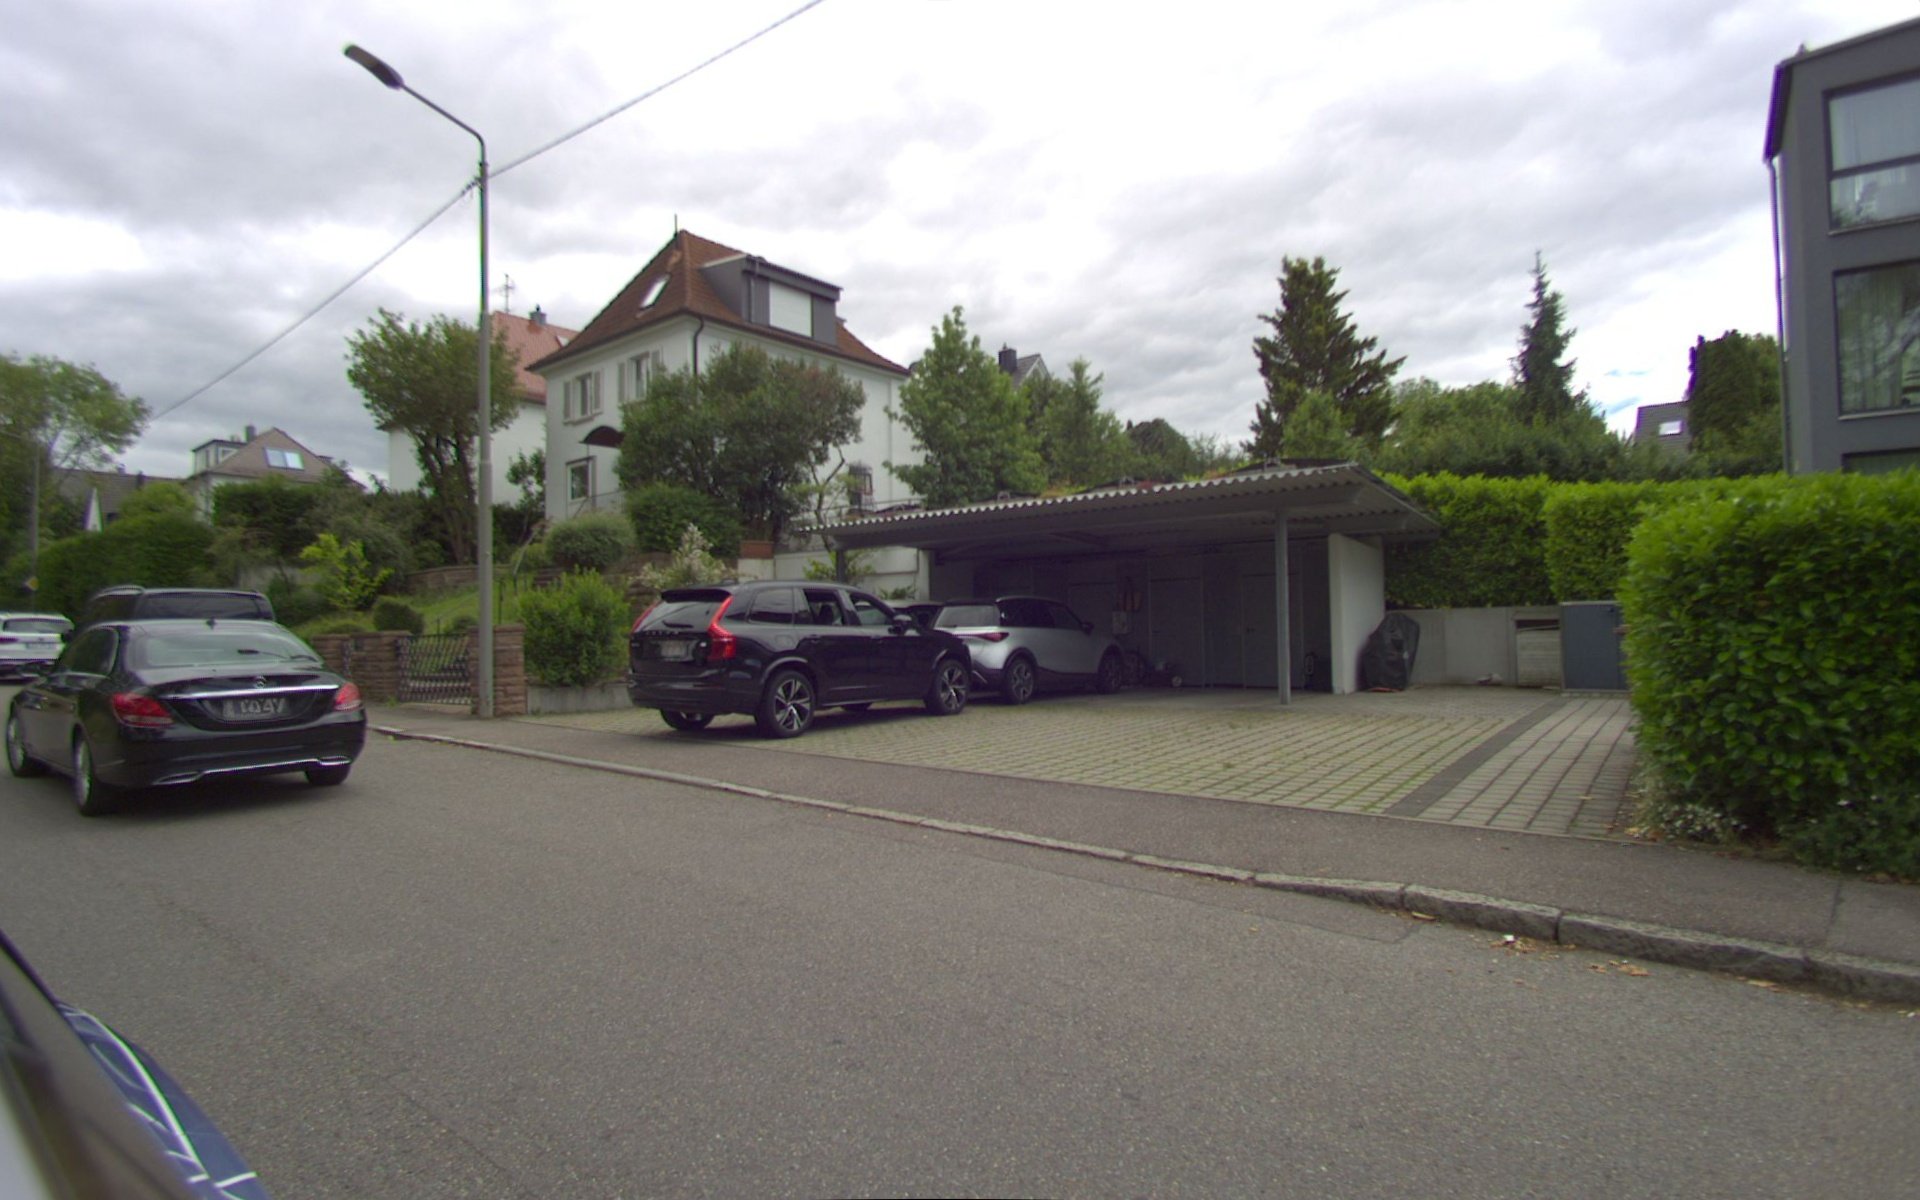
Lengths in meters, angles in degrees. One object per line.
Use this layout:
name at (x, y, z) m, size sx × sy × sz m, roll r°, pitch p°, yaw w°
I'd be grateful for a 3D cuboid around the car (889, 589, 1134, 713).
car at (0.953, 0.799, 16.279) m, size 1.996 × 1.710 × 4.085 m, roll -4°, pitch -3°, yaw 36°

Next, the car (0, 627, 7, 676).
car at (-31.819, 1.566, 32.110) m, size 4.469 × 1.511 × 1.745 m, roll -1°, pitch -4°, yaw 40°

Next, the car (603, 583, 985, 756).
car at (-1.806, 0.748, 12.451) m, size 1.996 × 1.710 × 4.574 m, roll -1°, pitch -2°, yaw 36°

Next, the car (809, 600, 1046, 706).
car at (-0.467, 0.956, 18.864) m, size 1.996 × 1.710 × 4.574 m, roll -4°, pitch -3°, yaw 36°

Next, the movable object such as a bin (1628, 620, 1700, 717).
movable object such as a bin at (8.039, 0.769, 11.566) m, size 0.400 × 1.075 × 0.529 m, roll 1°, pitch -2°, yaw -24°

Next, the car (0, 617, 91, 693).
car at (-22.269, 1.263, 23.919) m, size 4.180 × 1.661 × 1.820 m, roll -1°, pitch -4°, yaw 39°

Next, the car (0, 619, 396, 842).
car at (-6.843, 0.901, 8.801) m, size 4.587 × 1.425 × 1.844 m, roll -1°, pitch -1°, yaw 39°

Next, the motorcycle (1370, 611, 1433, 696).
motorcycle at (7.247, 0.848, 16.578) m, size 0.531 × 1.311 × 1.465 m, roll -2°, pitch -1°, yaw 40°

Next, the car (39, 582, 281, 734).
car at (-12.140, 0.777, 15.221) m, size 5.033 × 1.941 × 1.844 m, roll -1°, pitch -1°, yaw 39°
